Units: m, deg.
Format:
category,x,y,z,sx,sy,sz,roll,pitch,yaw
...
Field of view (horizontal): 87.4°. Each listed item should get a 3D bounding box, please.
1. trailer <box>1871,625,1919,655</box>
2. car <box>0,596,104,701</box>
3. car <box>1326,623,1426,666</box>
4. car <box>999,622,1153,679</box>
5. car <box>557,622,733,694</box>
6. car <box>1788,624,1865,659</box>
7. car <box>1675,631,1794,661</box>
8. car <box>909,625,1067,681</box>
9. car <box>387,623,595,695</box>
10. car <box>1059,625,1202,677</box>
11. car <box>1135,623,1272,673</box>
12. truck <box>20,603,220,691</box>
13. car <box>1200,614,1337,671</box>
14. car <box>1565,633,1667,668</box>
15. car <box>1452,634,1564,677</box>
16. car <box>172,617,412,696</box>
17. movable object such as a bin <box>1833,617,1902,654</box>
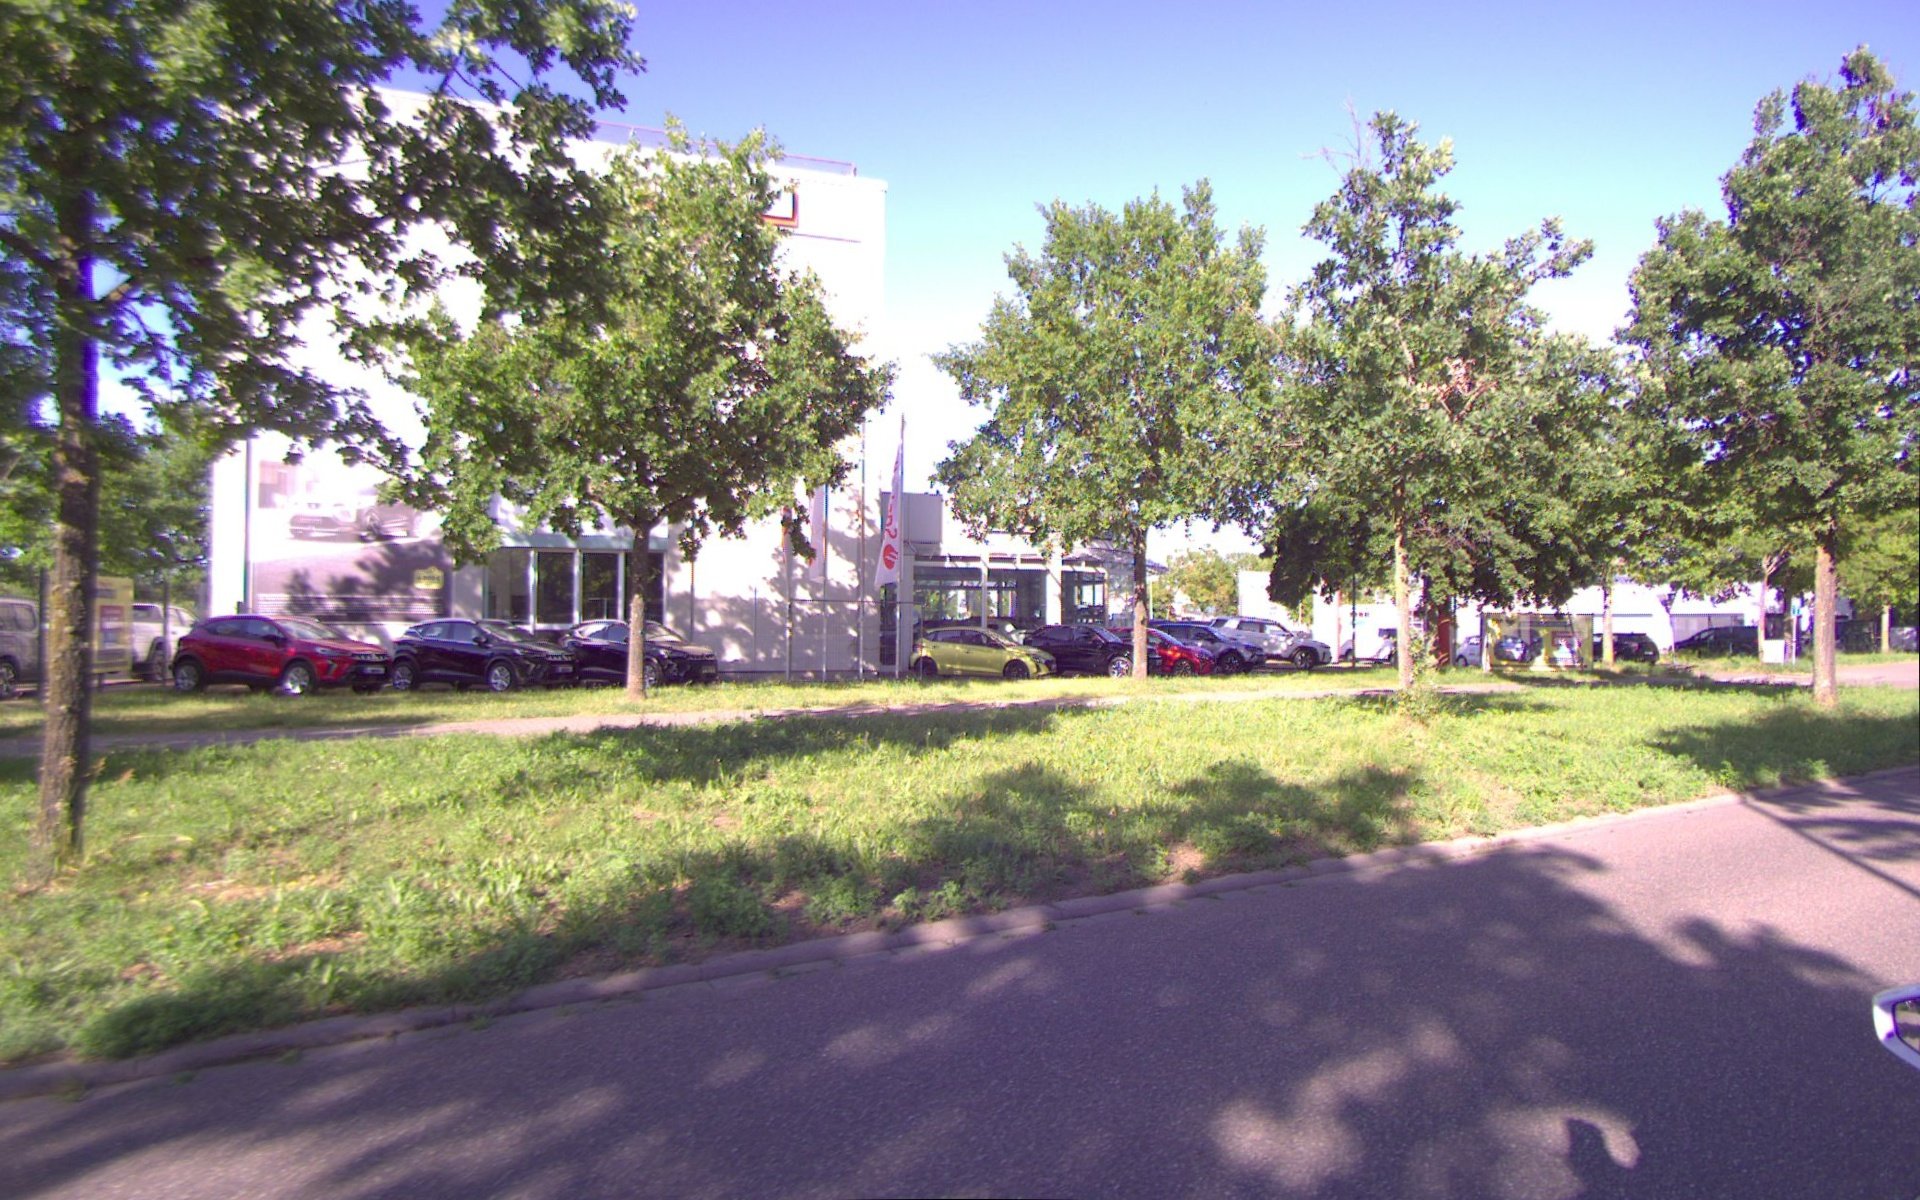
category,x,y,z,sx,sy,sz,roll,pitch,yaw
trailer,63.108,2.654,67.325,3.698,1.940,2.091,1,-1,-32
car,-18.227,0.840,18.776,1.994,1.807,4.014,1,0,-18
car,19.928,2.093,48.356,1.908,1.931,5.014,1,-2,-13
car,3.367,1.419,28.988,4.087,1.558,1.897,0,-2,19
car,-7.370,1.295,23.443,3.930,1.531,1.797,-1,-1,32
car,52.036,2.495,60.285,5.744,2.015,2.024,1,-2,-33
car,39.739,2.327,51.660,1.919,1.499,4.478,1,-2,-31
car,0.791,1.400,27.338,3.875,1.420,2.000,0,-2,19
car,-10.218,1.237,21.934,3.920,1.467,1.802,0,-2,18
car,5.356,1.556,31.470,4.089,1.510,2.000,0,-2,22
car,8.137,1.553,33.567,4.095,1.583,1.997,-1,-2,29
truck,-19.558,1.010,23.693,1.994,1.807,4.671,1,0,-18
car,11.499,1.563,37.522,4.762,2.040,2.000,0,-1,19
car,30.311,2.301,46.526,1.792,1.553,3.670,1,-2,-15
car,22.241,2.211,40.904,1.932,1.639,3.742,1,-2,-17
car,-13.343,1.088,20.151,3.919,1.467,1.802,0,-2,13
movable object such as a bin,57.252,2.243,63.381,4.410,2.246,2.091,1,-1,-32
